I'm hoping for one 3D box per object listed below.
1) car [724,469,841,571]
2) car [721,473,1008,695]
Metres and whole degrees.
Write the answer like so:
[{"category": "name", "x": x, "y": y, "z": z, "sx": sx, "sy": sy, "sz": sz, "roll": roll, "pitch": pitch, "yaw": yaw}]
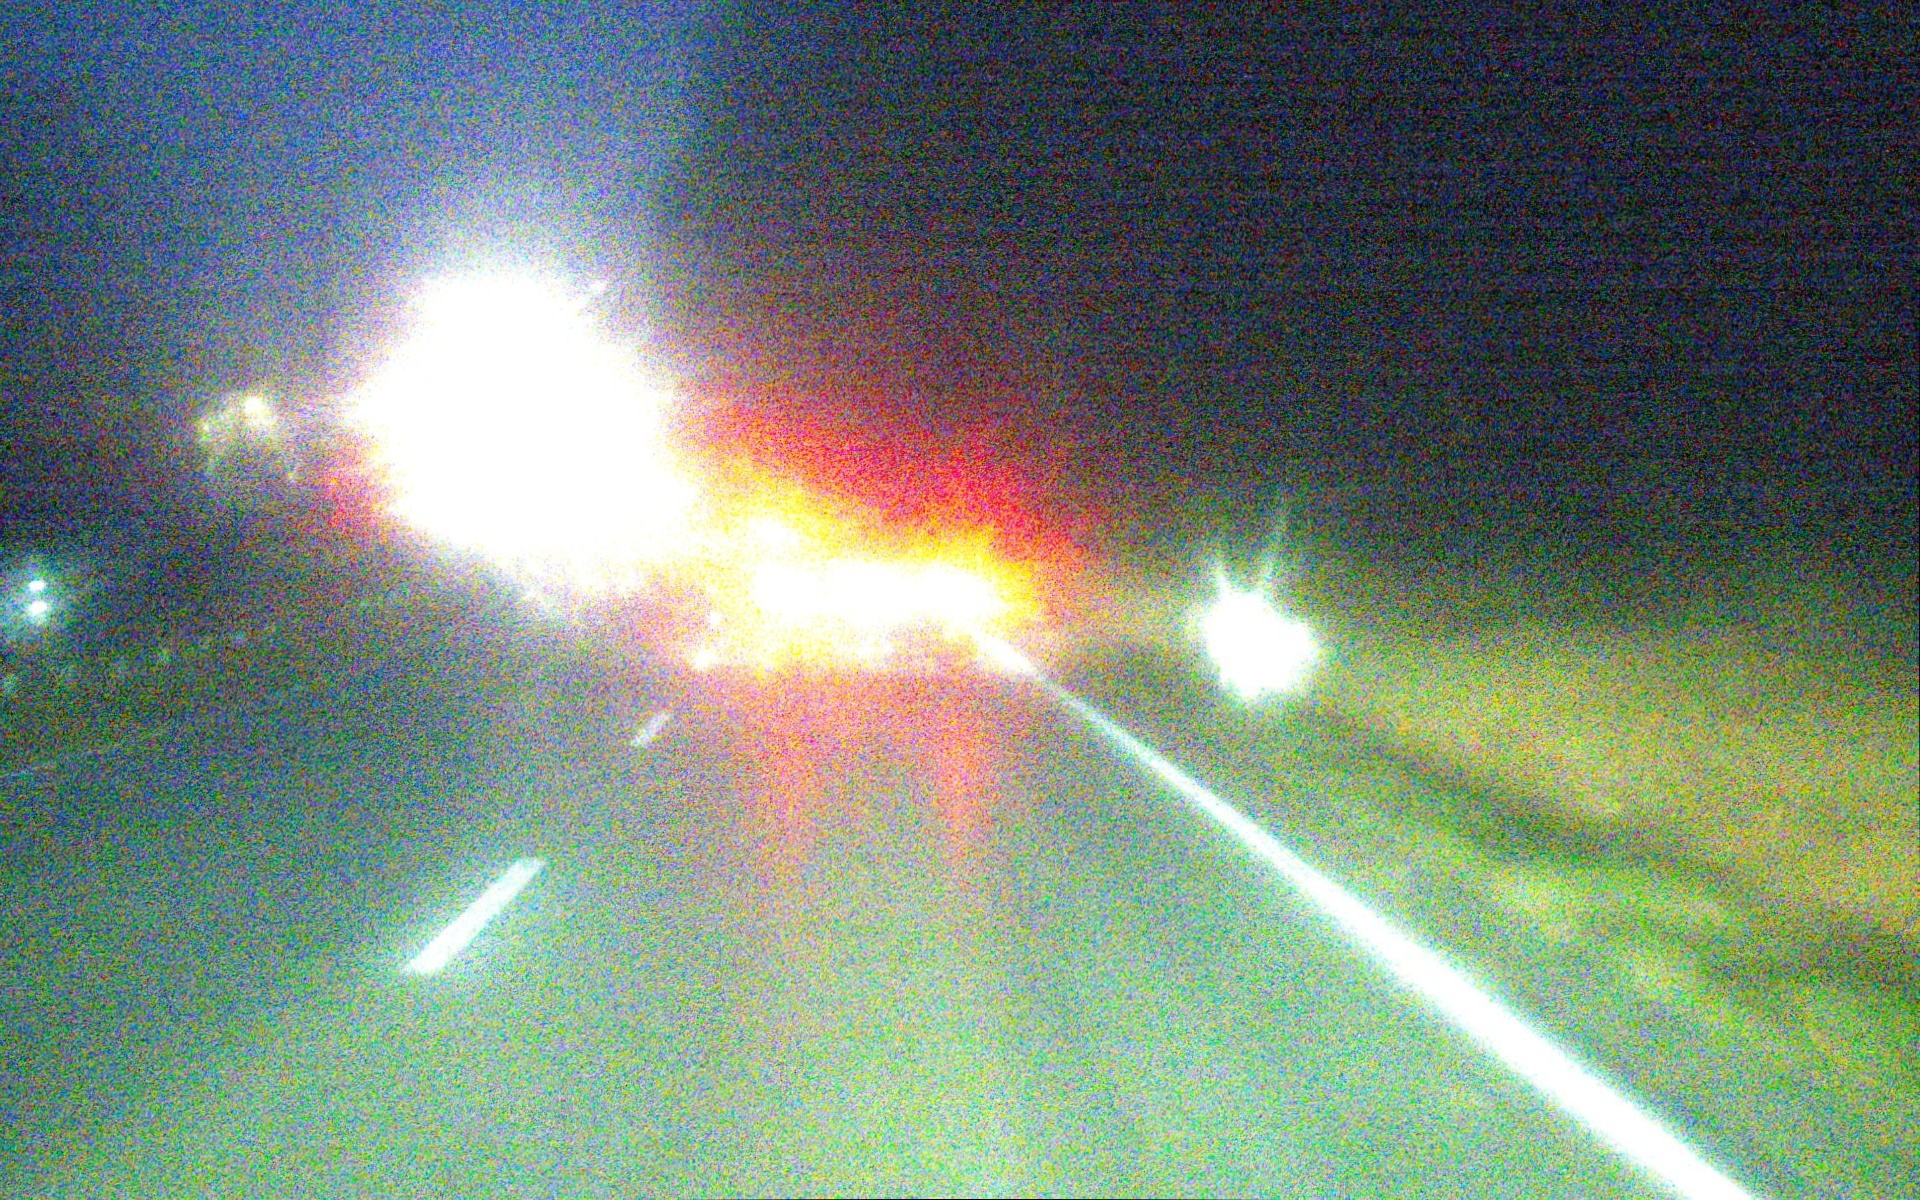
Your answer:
[{"category": "car", "x": -3.673, "y": -1.657, "z": 70.579, "sx": 1.993, "sy": 2.006, "sz": 4.001, "roll": 1, "pitch": 2, "yaw": -8}, {"category": "car", "x": -0.810, "y": -0.185, "z": 32.683, "sx": 2.458, "sy": 1.952, "sz": 4.911, "roll": 0, "pitch": 1, "yaw": 2}]
